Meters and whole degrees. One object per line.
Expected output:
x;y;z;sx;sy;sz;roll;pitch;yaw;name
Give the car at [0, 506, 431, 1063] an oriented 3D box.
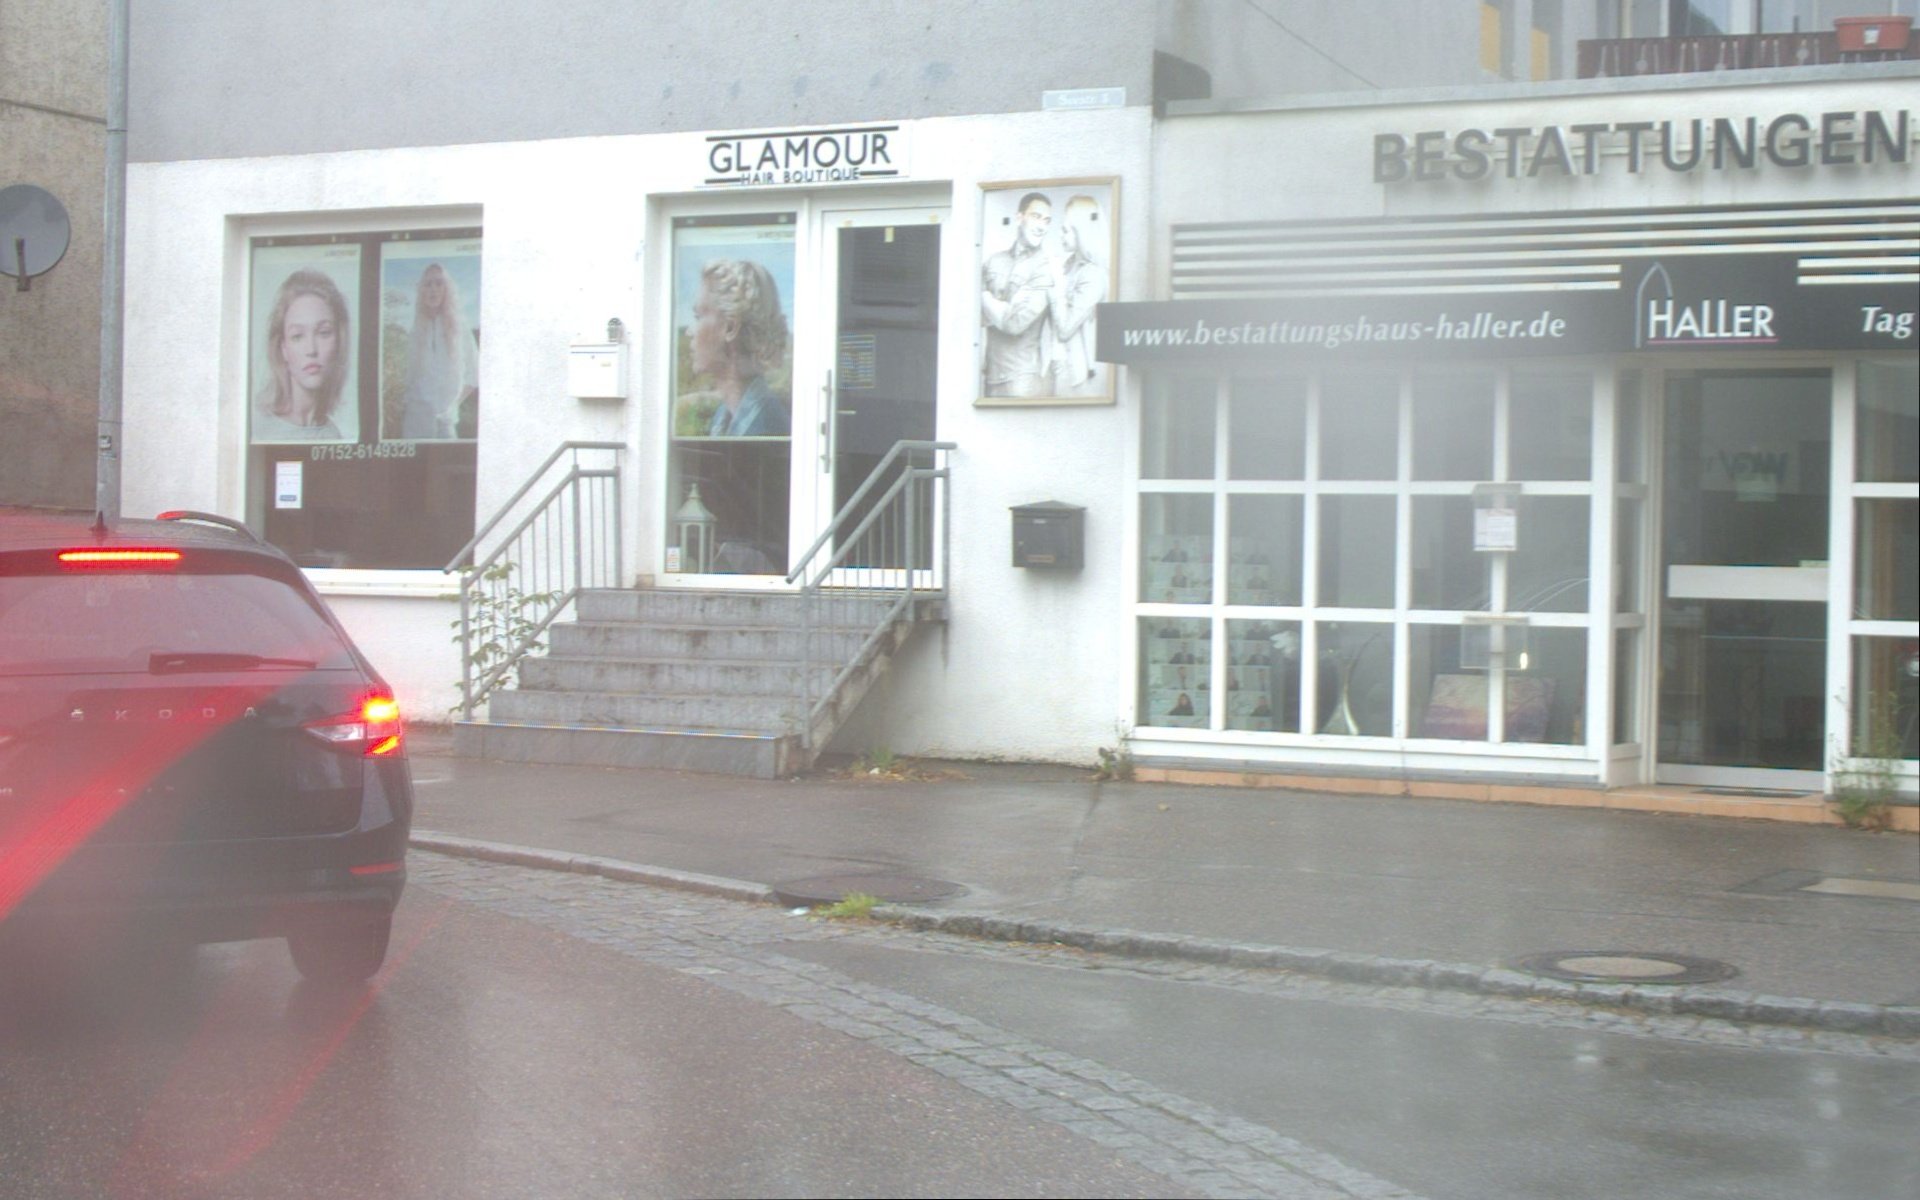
-3.223;0.452;11.483;1.732;1.445;4.242;0;3;-25;car
